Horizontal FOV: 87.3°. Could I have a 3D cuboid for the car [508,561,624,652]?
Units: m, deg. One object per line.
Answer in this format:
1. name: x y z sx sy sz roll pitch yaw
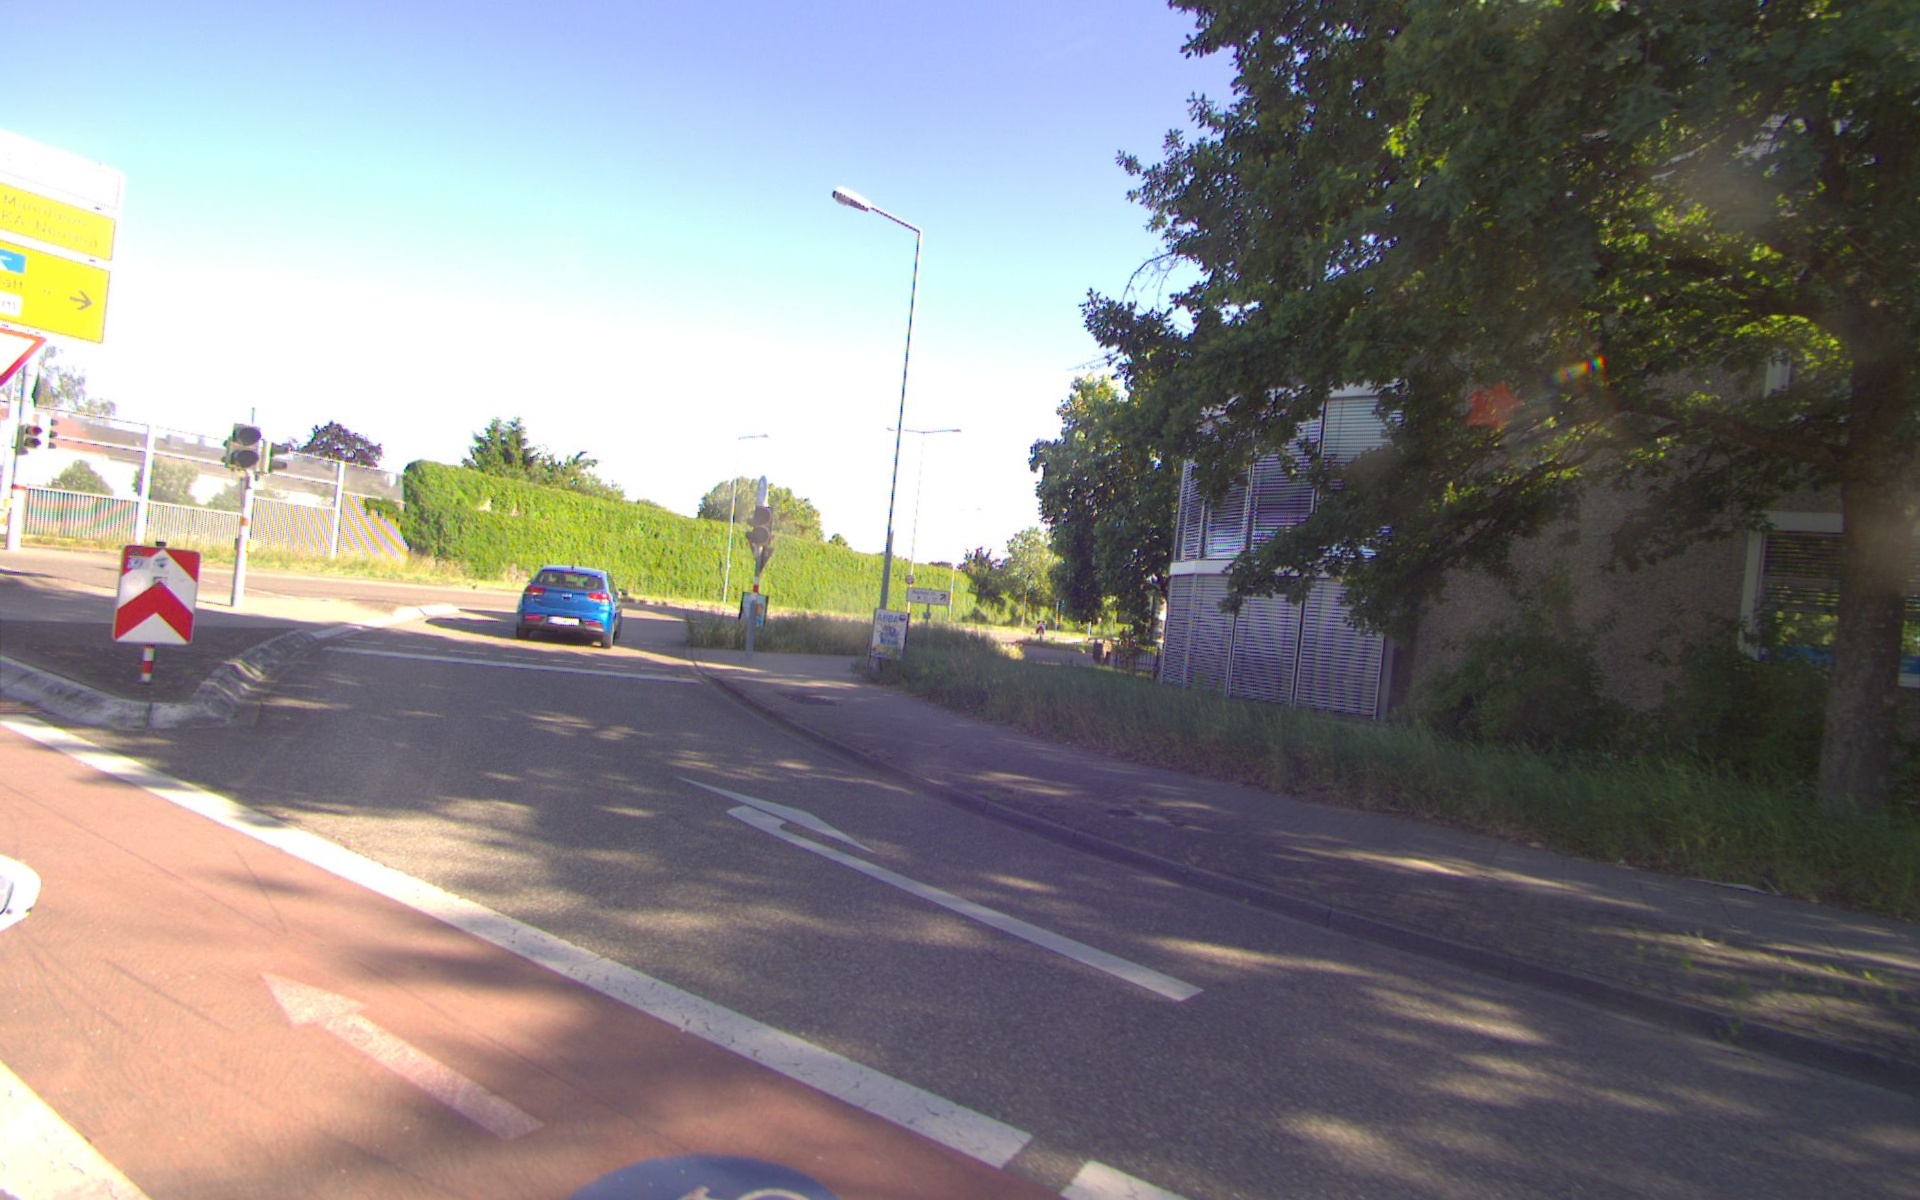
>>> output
1. car: -7.682 0.063 19.917 1.711 1.458 3.779 7 0 -17
